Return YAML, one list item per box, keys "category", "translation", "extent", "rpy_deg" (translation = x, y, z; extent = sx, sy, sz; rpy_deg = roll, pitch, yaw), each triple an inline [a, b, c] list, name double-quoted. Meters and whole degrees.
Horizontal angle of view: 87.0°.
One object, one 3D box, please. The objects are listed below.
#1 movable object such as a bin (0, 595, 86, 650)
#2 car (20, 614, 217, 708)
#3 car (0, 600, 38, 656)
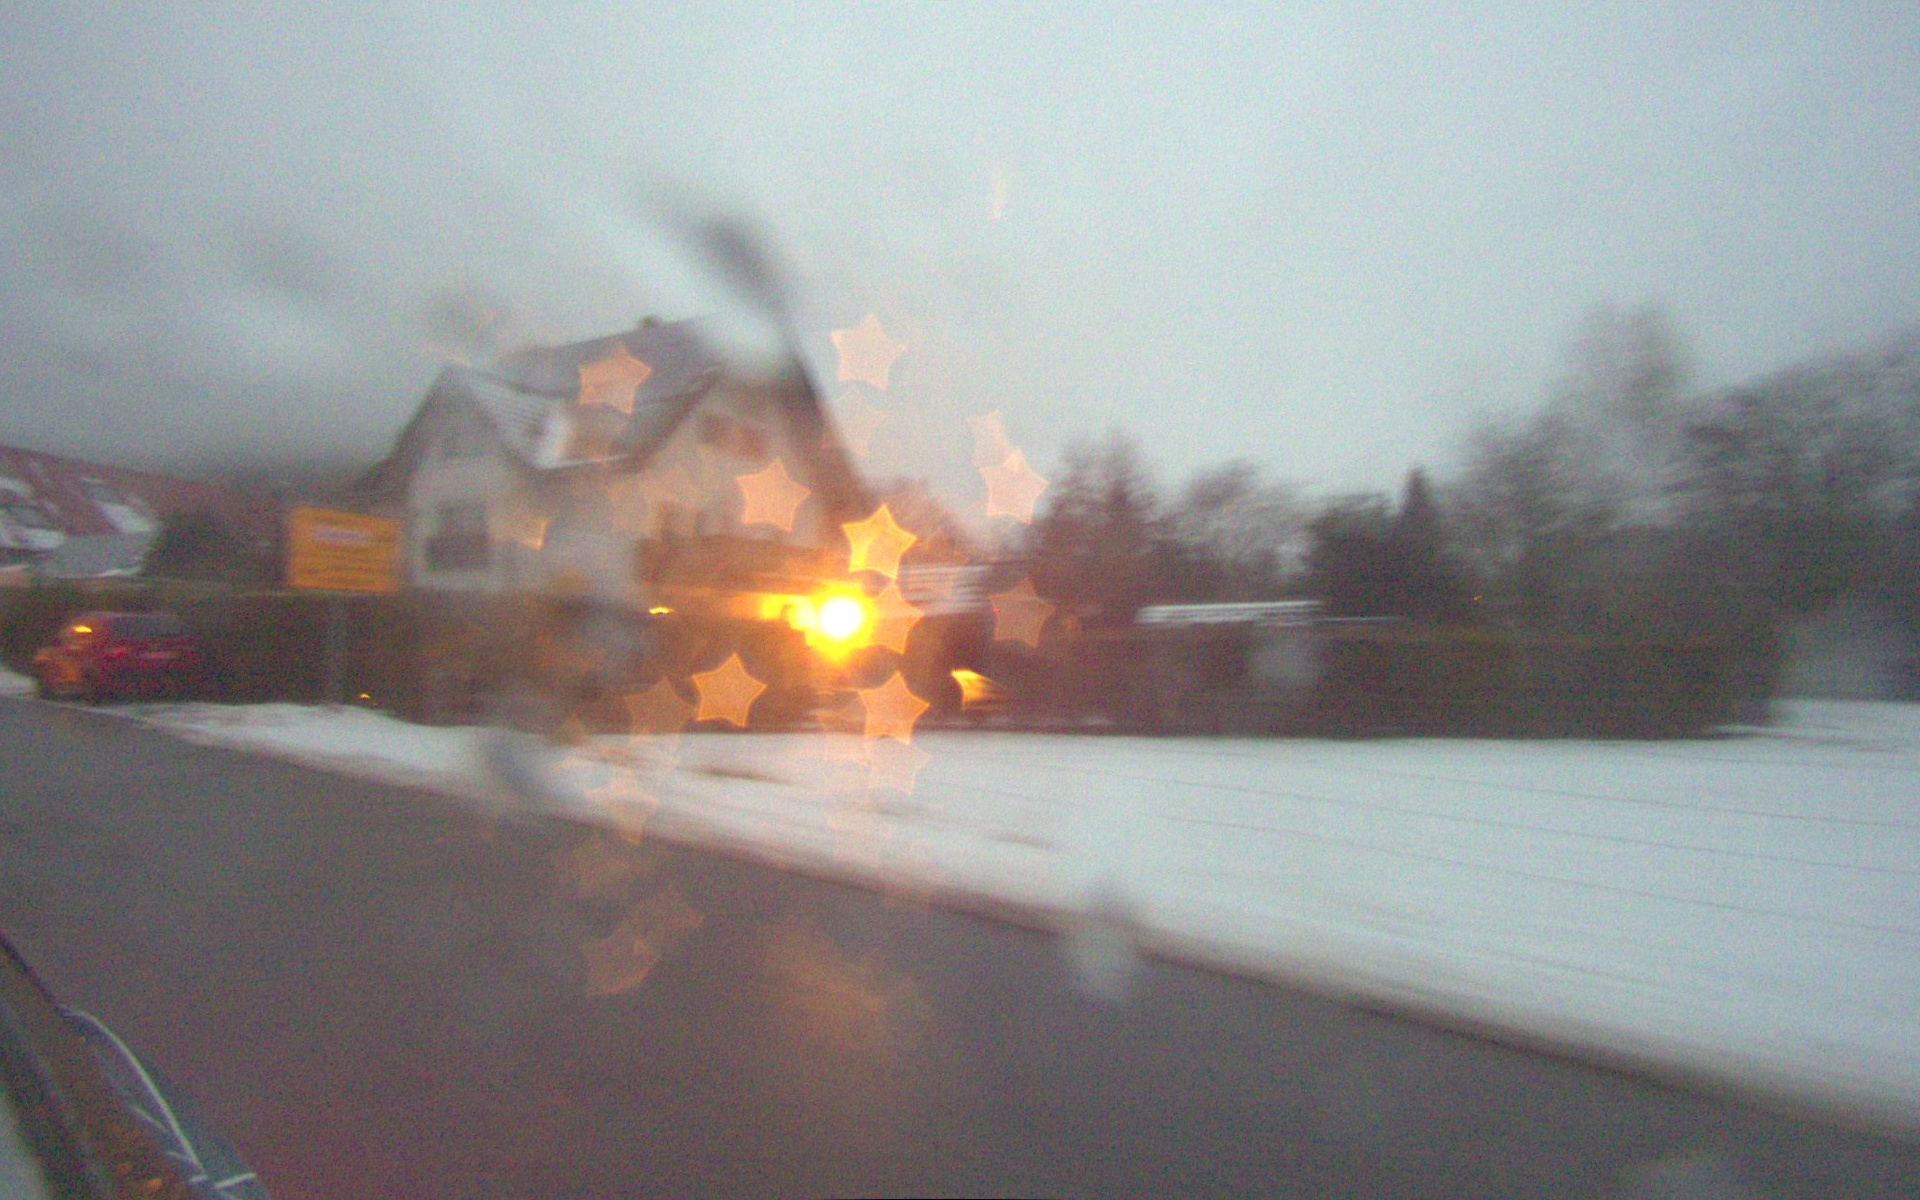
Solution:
- category: "movable object such as a bin"
  translation: [-29.077, 0.698, 31.811]
  extent: [2.333, 1.661, 1.444]
  rpy_deg: [-1, 0, -39]
- category: "car"
  translation: [-15.268, 1.075, 18.350]
  extent: [3.505, 1.546, 1.705]
  rpy_deg: [-1, -3, 32]
- category: "car"
  translation: [-38.299, 0.964, 37.786]
  extent: [2.204, 2.029, 5.229]
  rpy_deg: [3, -1, 27]
